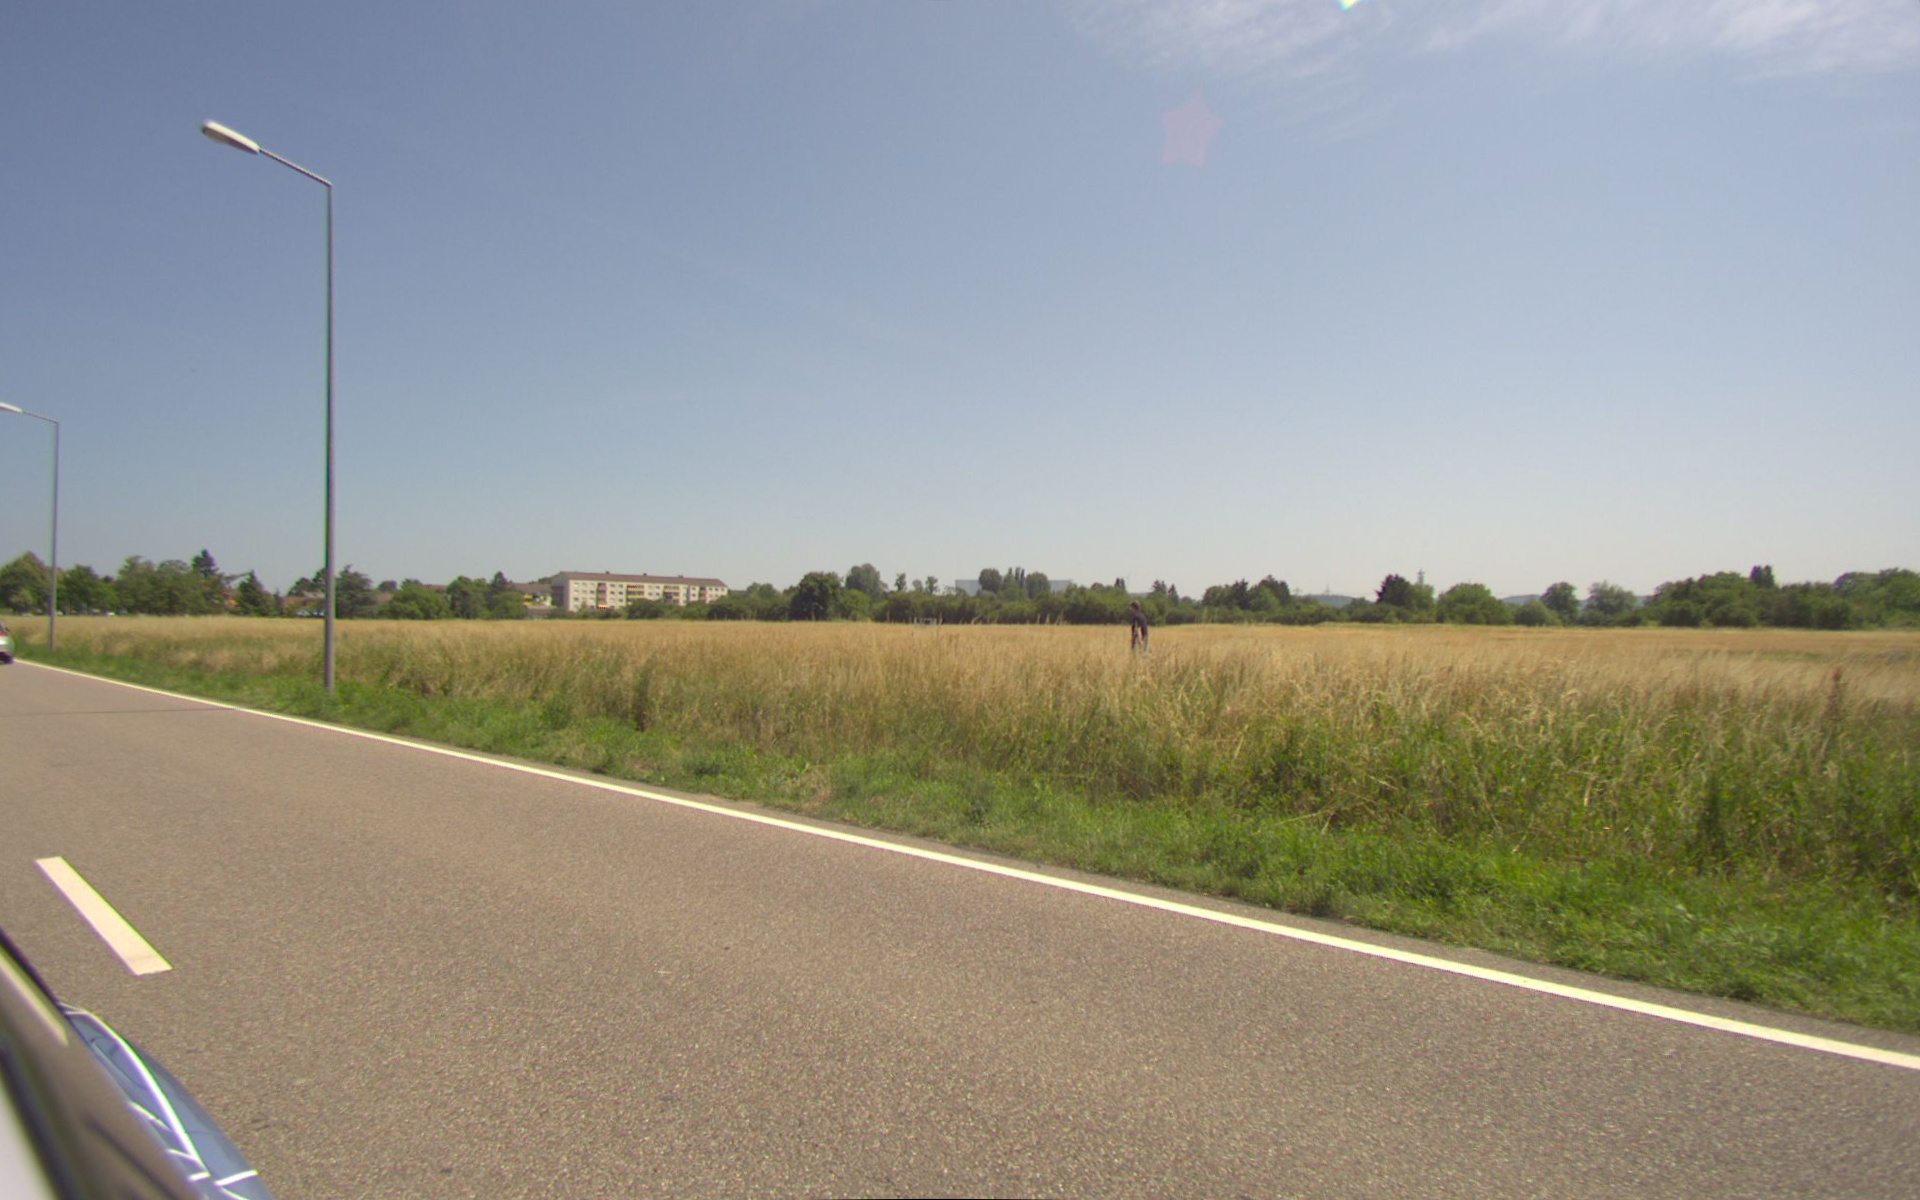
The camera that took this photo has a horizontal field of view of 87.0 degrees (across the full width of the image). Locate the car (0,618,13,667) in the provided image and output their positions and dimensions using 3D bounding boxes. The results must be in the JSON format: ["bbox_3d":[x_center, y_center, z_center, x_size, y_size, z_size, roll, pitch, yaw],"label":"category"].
[{"bbox_3d":[-31.200,1.315,31.665,4.676,1.478,1.815,-1,-2,41],"label":"car"}]
